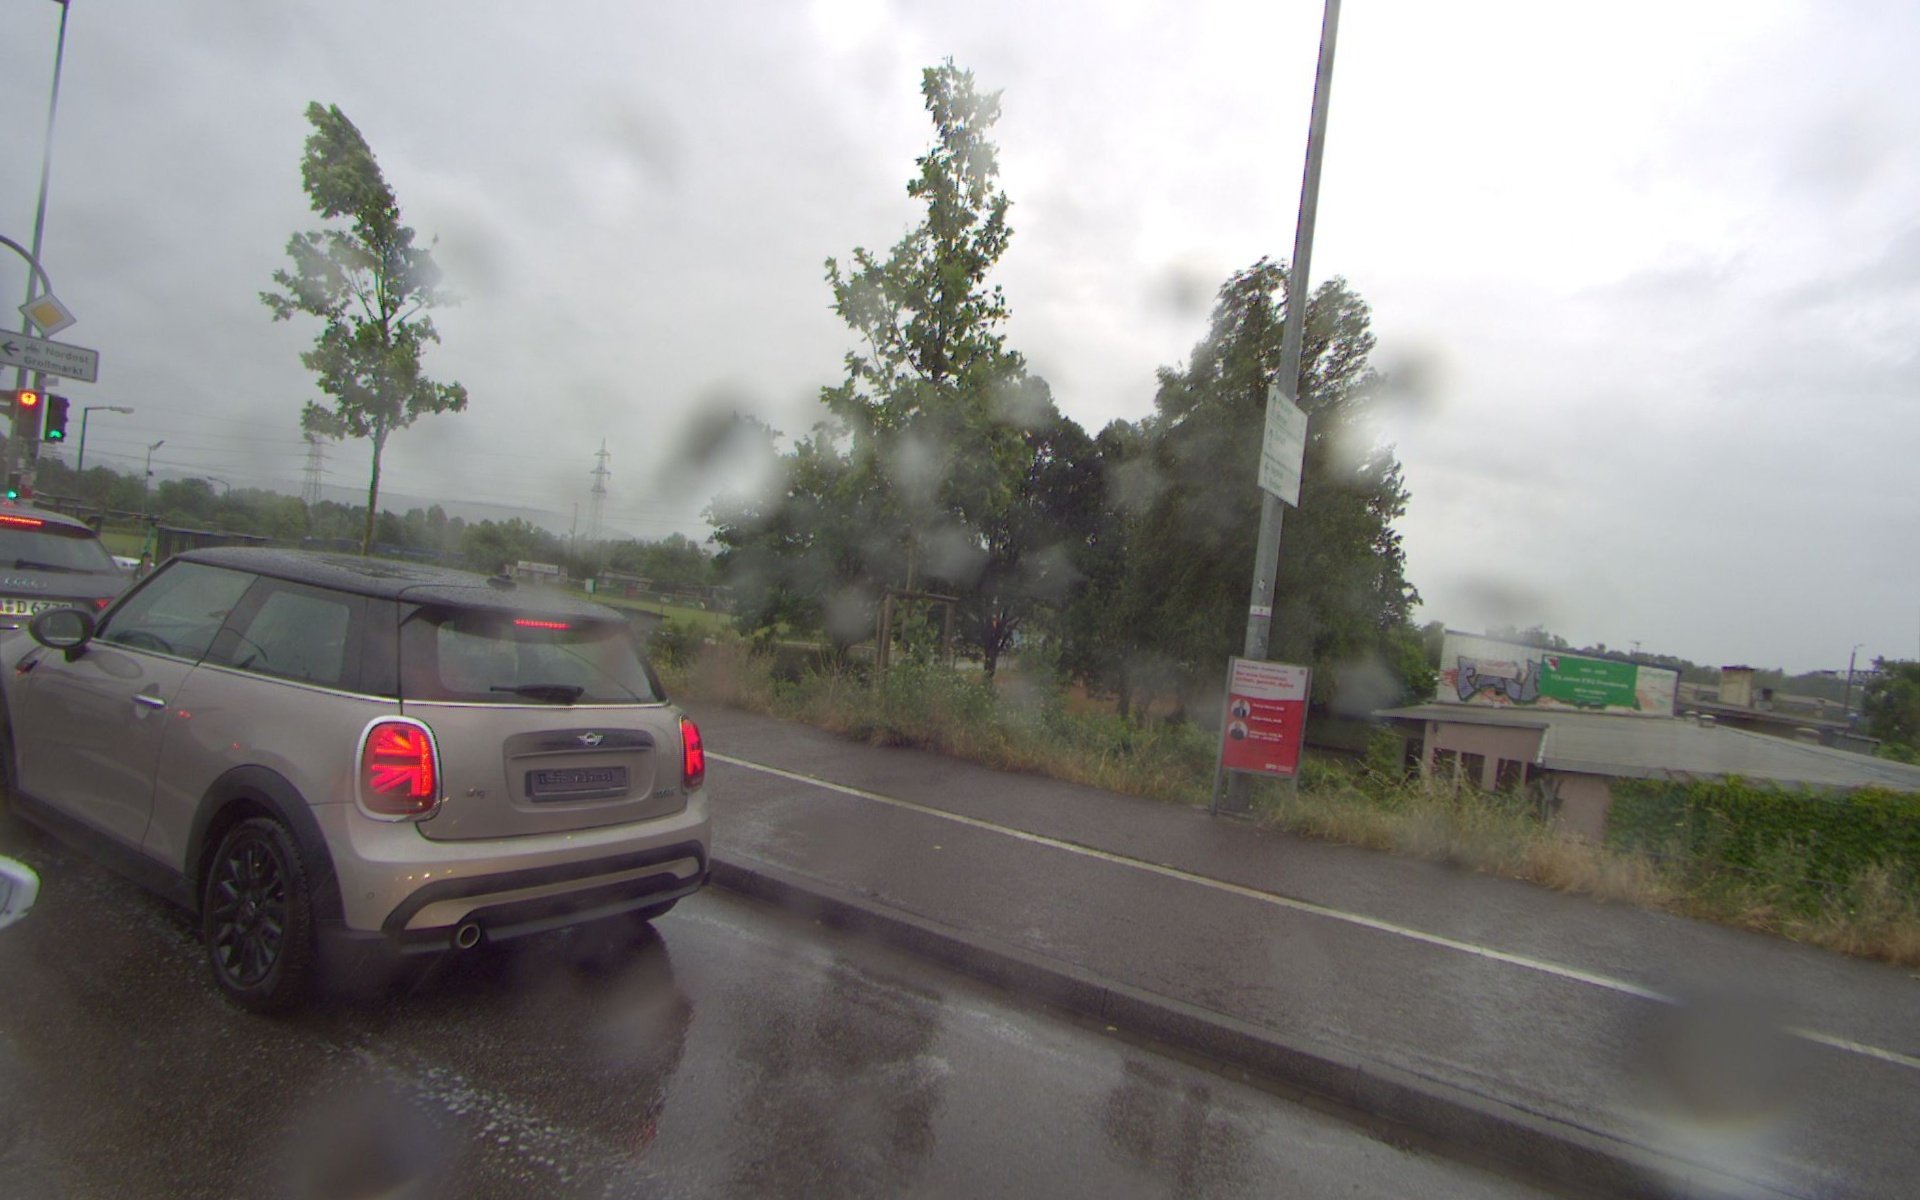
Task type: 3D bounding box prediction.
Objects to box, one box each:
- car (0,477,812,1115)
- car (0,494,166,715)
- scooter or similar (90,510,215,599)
[{"bbox_3d":[-2.742,0.466,4.287,3.815,1.524,1.707,7,-4,32],"label":"car"},{"bbox_3d":[-7.542,-0.105,7.261,3.570,1.383,1.599,5,-1,31],"label":"car"},{"bbox_3d":[-13.882,-0.802,17.249,2.971,1.226,0.691,7,0,33],"label":"scooter or similar"}]
